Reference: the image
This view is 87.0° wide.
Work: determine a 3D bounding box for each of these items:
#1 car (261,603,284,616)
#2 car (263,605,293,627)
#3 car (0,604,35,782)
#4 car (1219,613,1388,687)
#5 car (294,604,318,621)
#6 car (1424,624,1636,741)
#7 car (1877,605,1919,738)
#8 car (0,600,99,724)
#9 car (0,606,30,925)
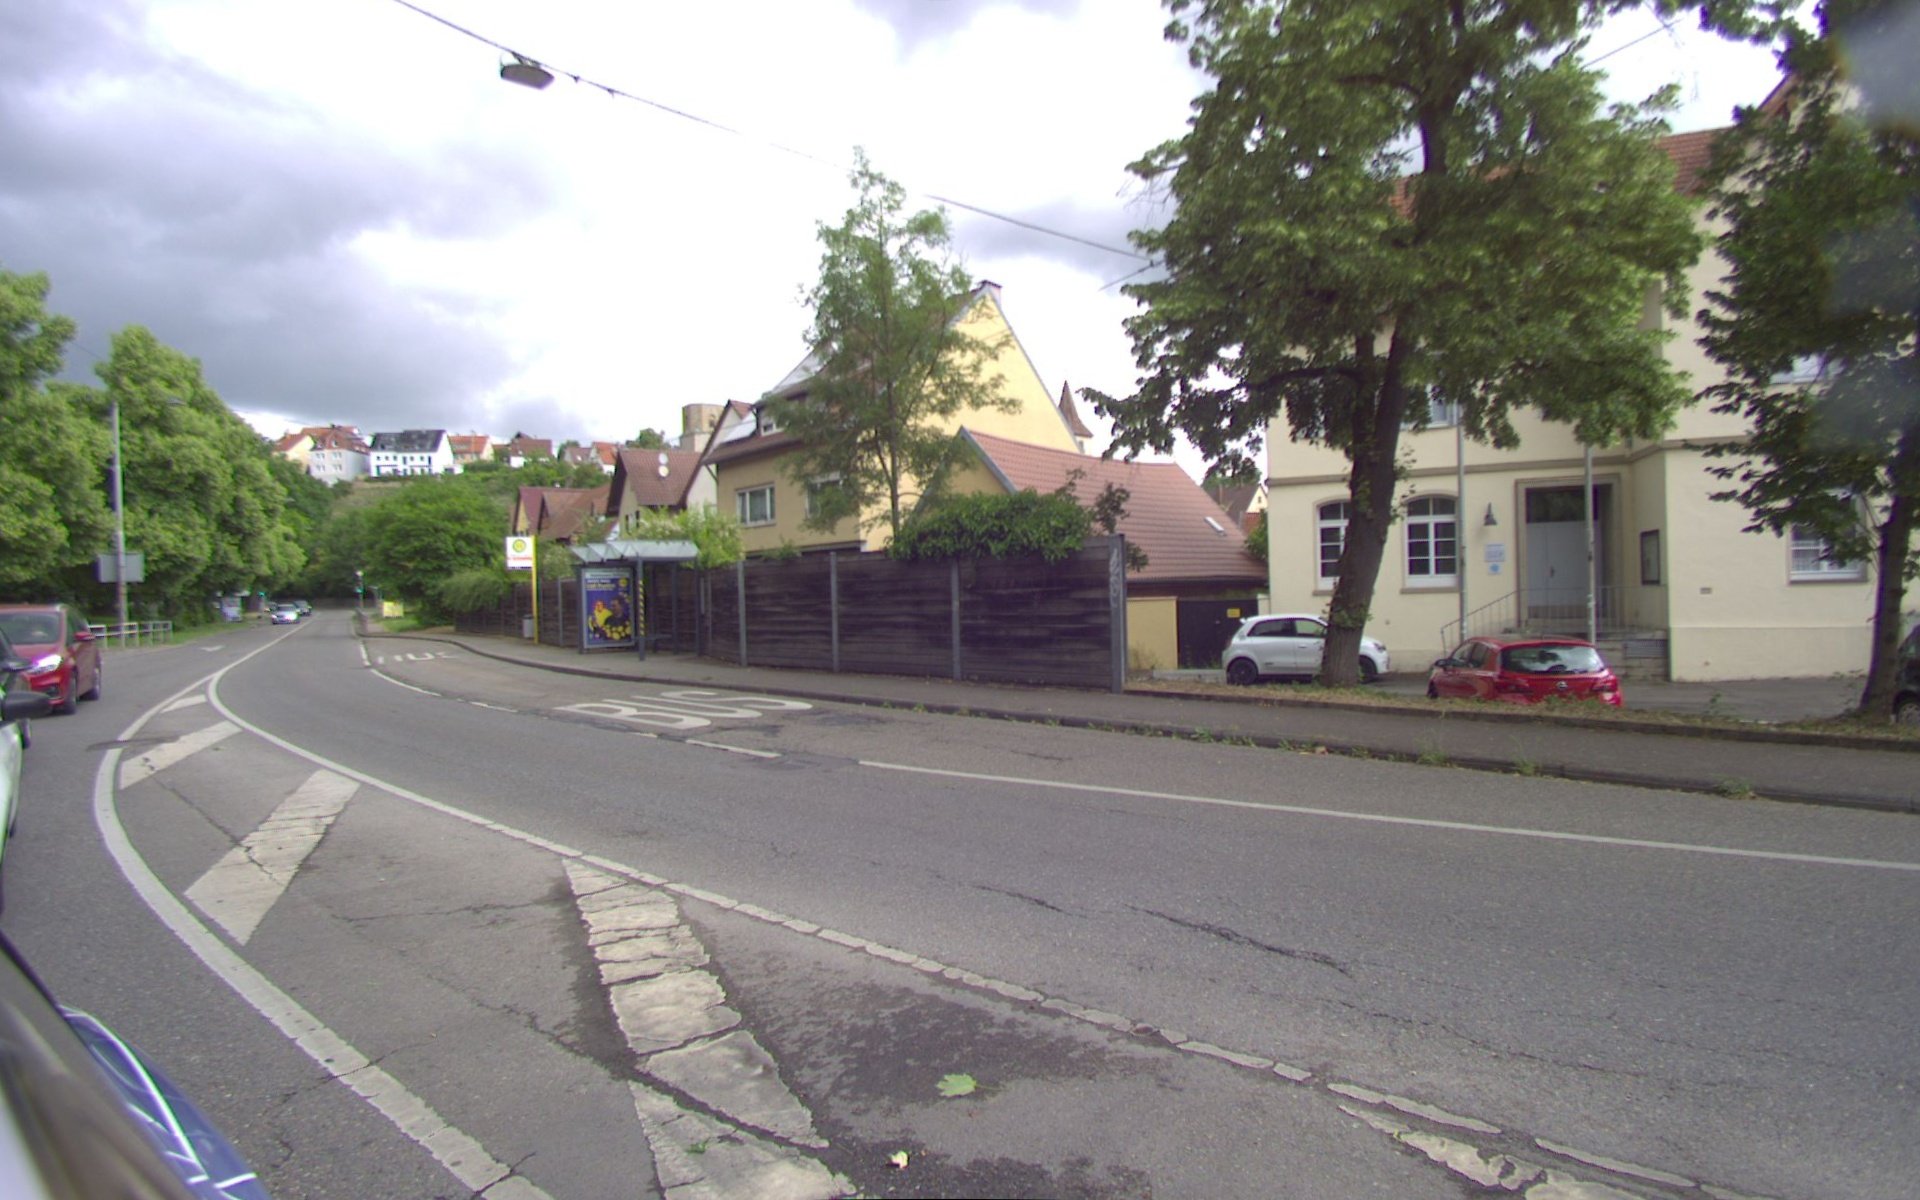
[{"bbox_3d":[-85.759,1.177,126.261,1.819,1.630,4.004,-1,0,-43],"label":"car"},{"bbox_3d":[-55.266,1.282,82.034,1.817,1.652,4.009,-1,0,-37],"label":"car"},{"bbox_3d":[-10.247,0.852,9.847,1.699,1.559,3.787,-1,0,-41],"label":"car"},{"bbox_3d":[7.744,1.106,22.933,3.487,1.528,1.581,-1,0,20],"label":"car"},{"bbox_3d":[-71.857,1.340,111.191,1.881,1.768,4.009,-2,1,-36],"label":"car"},{"bbox_3d":[8.123,1.103,14.777,1.590,1.389,3.544,-1,0,10],"label":"car"},{"bbox_3d":[12.696,0.887,11.594,1.586,1.644,3.093,-1,0,2],"label":"car"},{"bbox_3d":[-14.513,0.876,15.447,1.800,1.685,4.067,-1,0,-37],"label":"car"},{"bbox_3d":[-6.035,0.814,5.285,1.594,1.525,3.610,-1,0,-41],"label":"car"}]
